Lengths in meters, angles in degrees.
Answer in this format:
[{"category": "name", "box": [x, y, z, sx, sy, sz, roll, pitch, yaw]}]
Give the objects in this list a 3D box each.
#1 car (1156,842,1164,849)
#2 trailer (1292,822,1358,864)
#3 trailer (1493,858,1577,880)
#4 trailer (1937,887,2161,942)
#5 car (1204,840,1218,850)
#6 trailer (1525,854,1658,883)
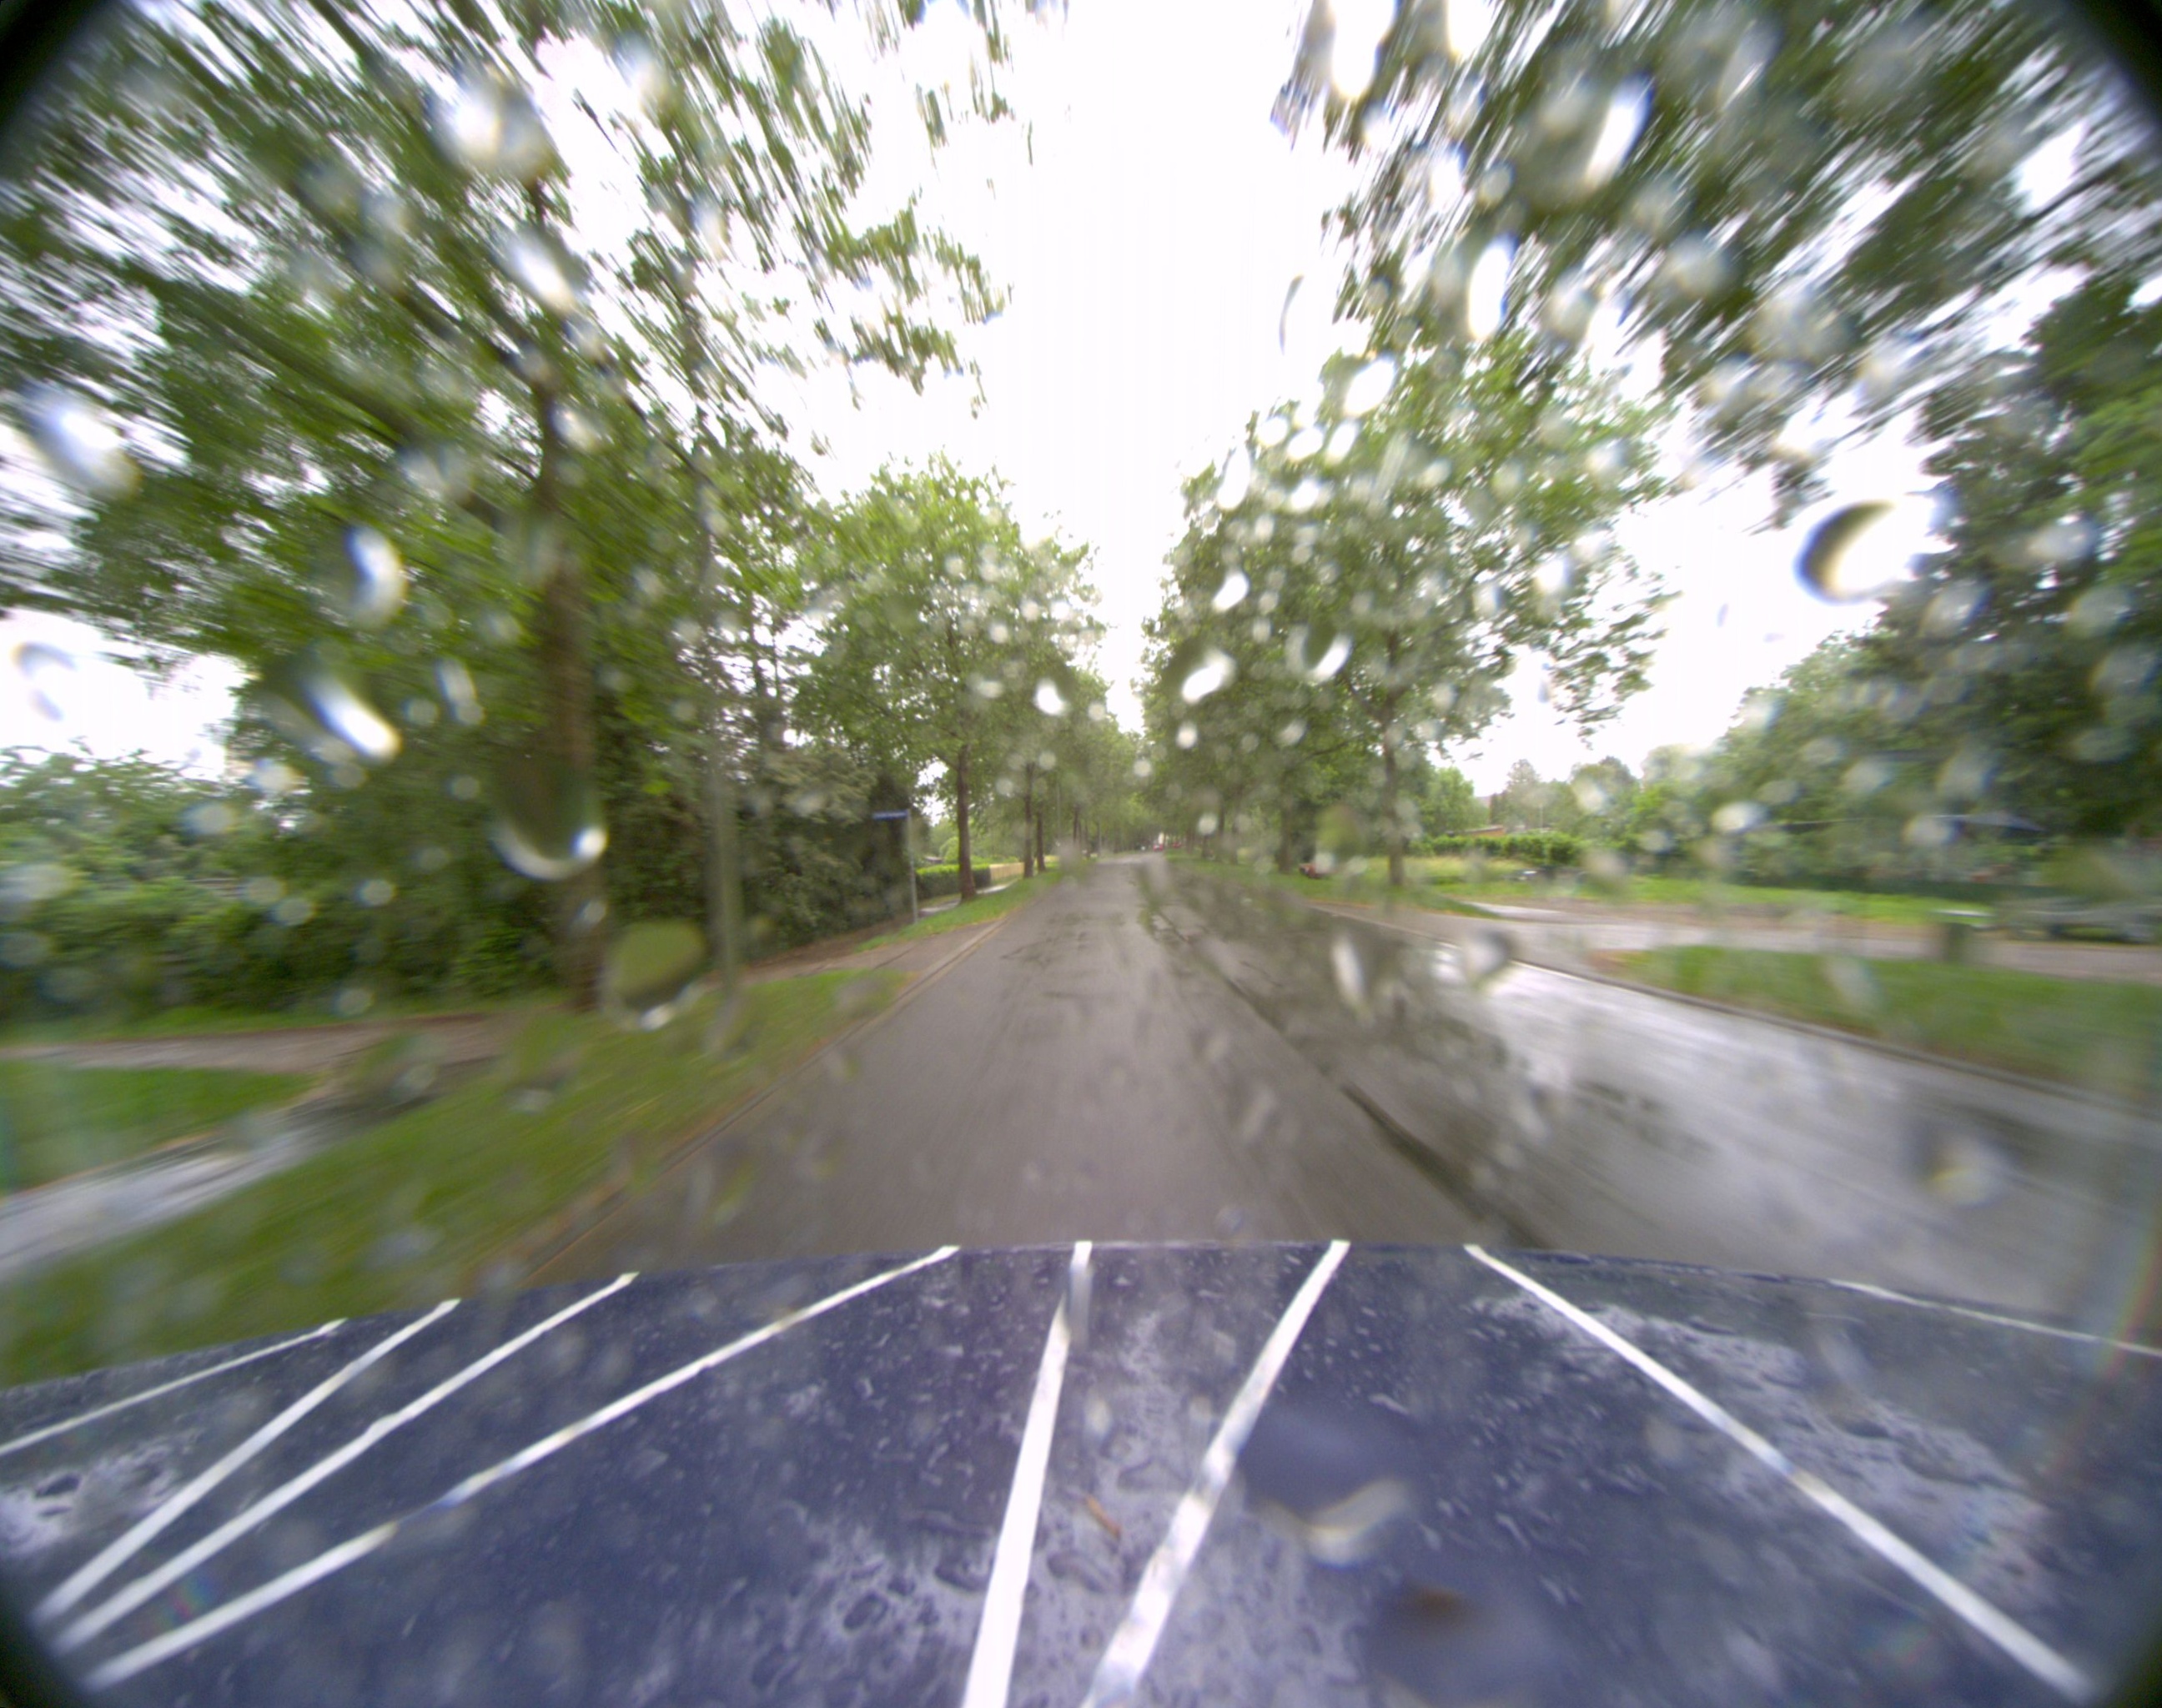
[{"category": "car", "box": [16.717, -1.816, 160.800, 1.593, 1.445, 3.373, -2, 1, 3]}, {"category": "trailer", "box": [16.644, -0.798, 52.257, 2.804, 2.648, 6.652, -2, 1, 4]}, {"category": "trailer", "box": [22.249, 0.718, 37.314, 3.082, 0.939, 1.768, -2, 2, 3]}, {"category": "trailer", "box": [19.705, 1.186, 15.256, 3.035, 0.833, 1.678, -2, 2, 5]}, {"category": "car", "box": [23.453, -1.568, 137.165, 1.896, 1.673, 4.004, -1, 2, 17]}, {"category": "trailer", "box": [22.749, 0.630, 34.017, 4.327, 1.026, 2.382, -2, 1, 1]}]
